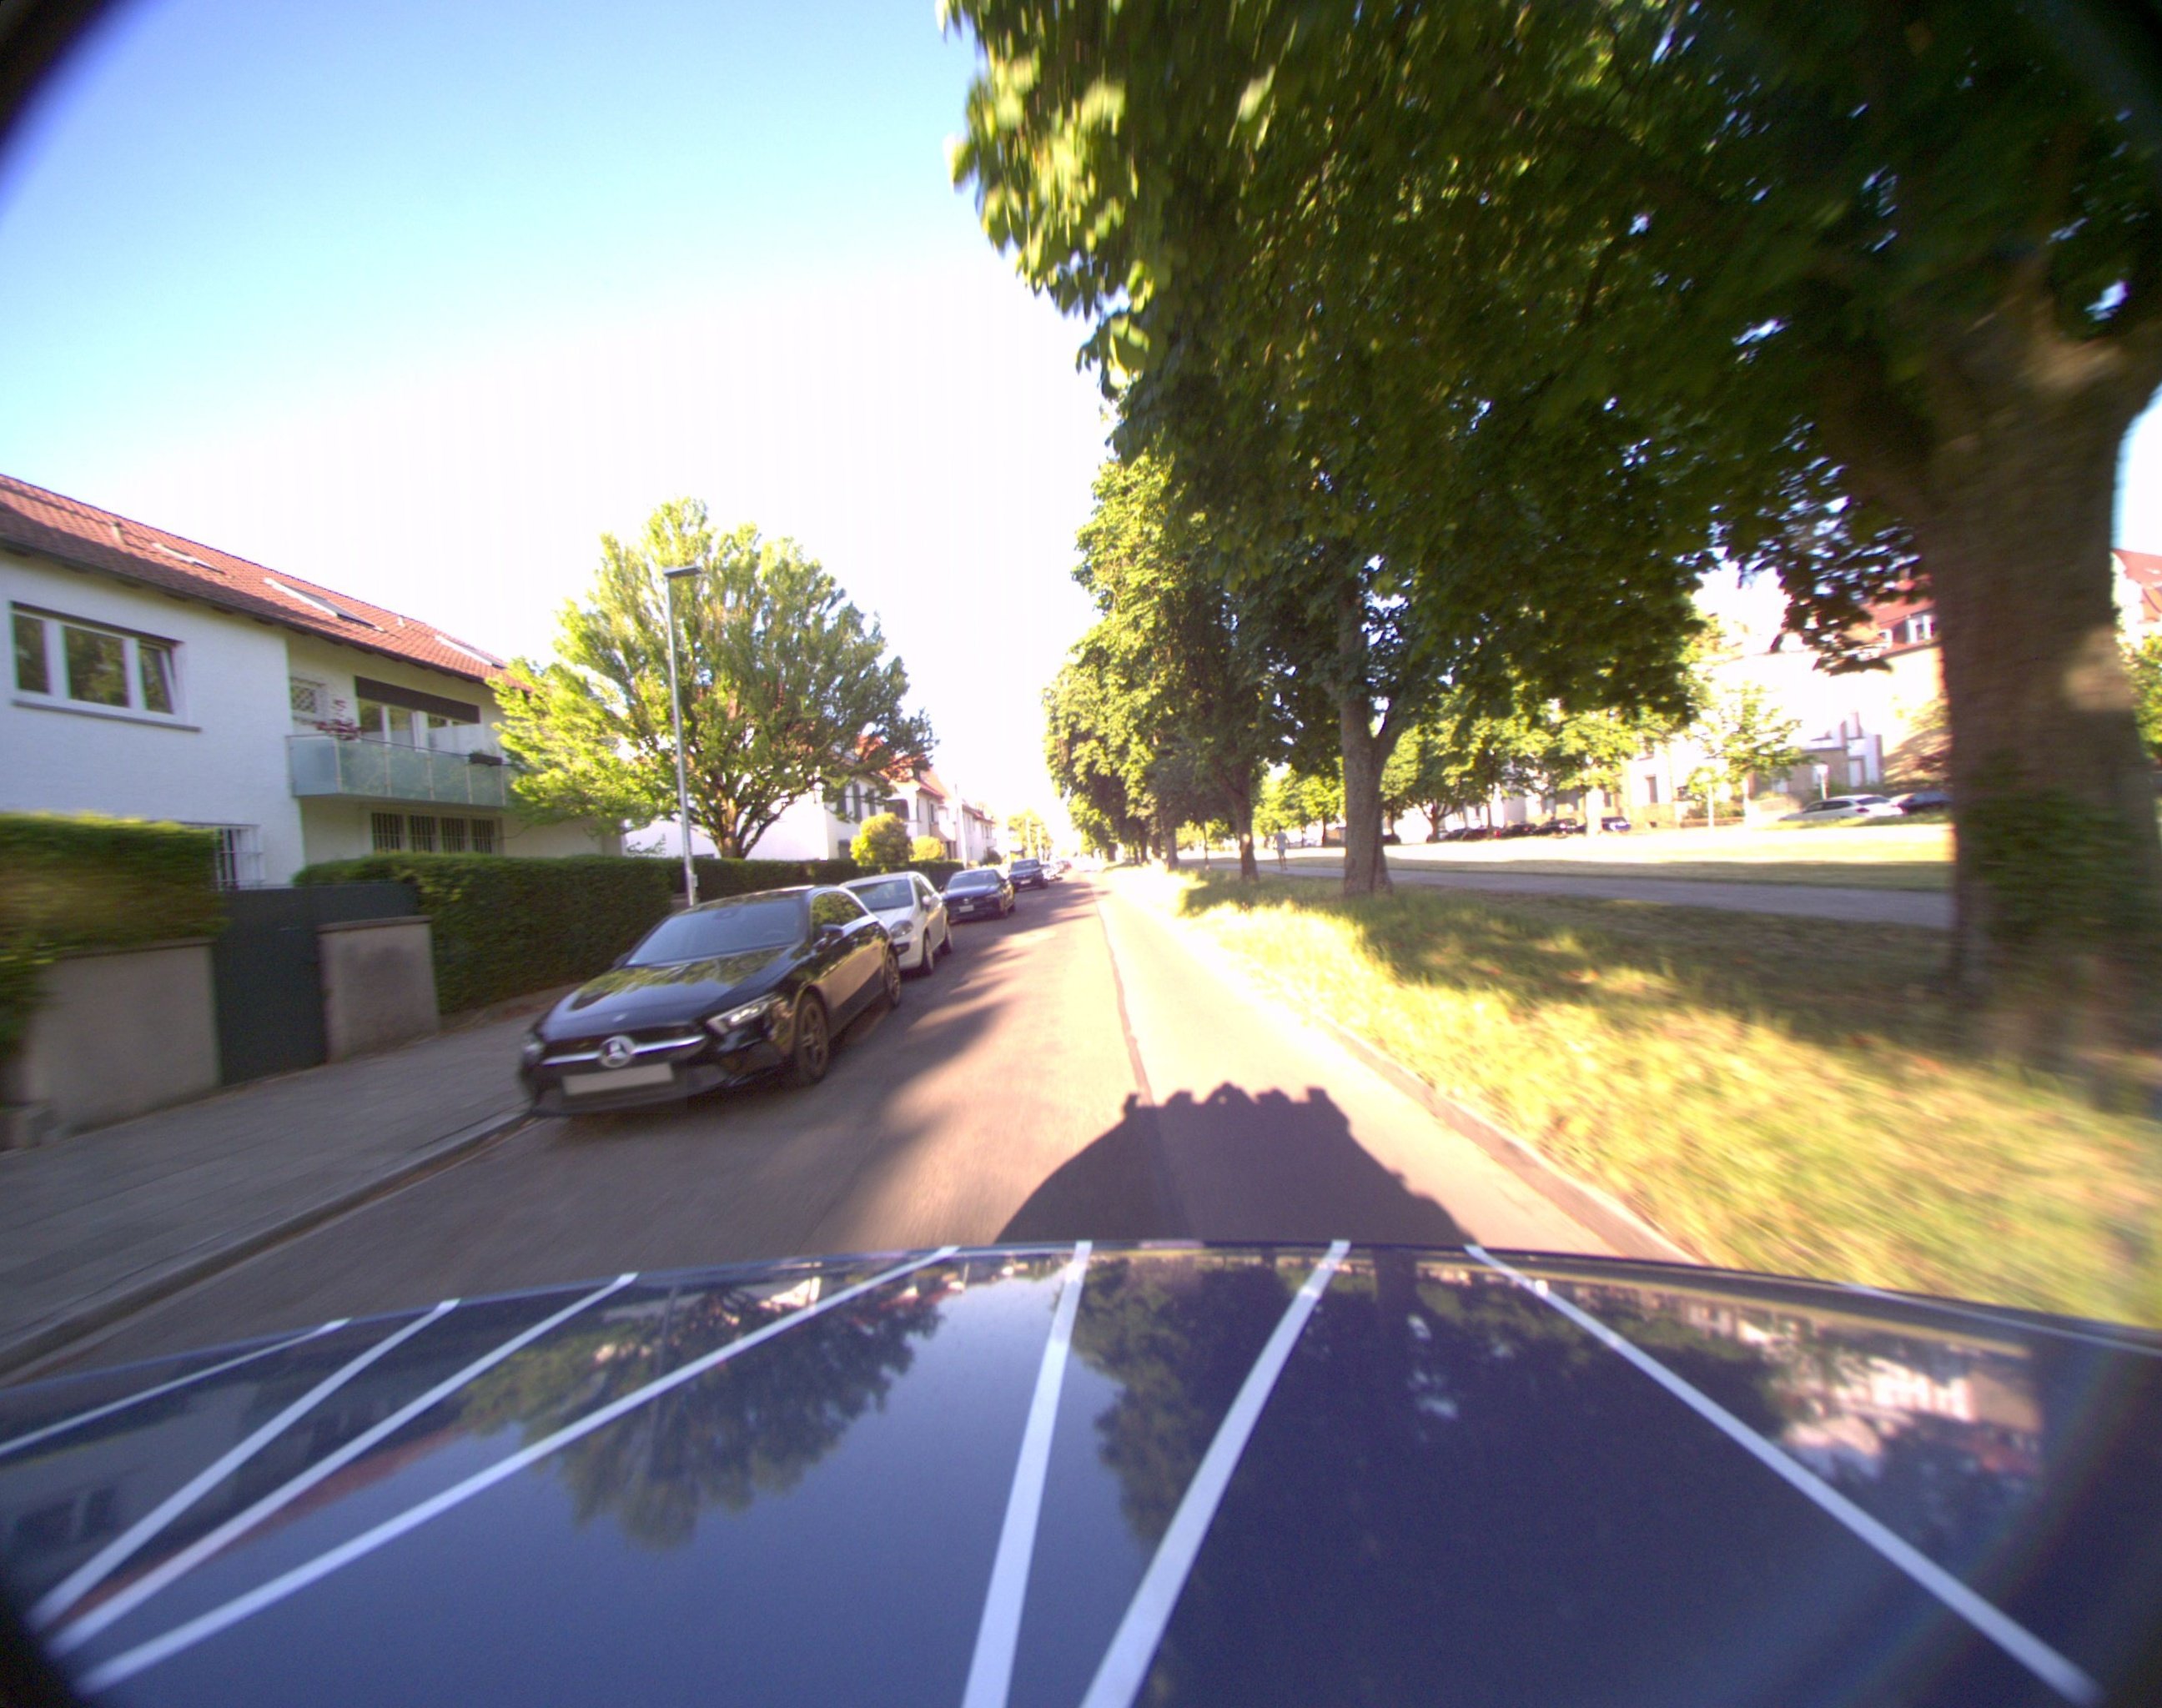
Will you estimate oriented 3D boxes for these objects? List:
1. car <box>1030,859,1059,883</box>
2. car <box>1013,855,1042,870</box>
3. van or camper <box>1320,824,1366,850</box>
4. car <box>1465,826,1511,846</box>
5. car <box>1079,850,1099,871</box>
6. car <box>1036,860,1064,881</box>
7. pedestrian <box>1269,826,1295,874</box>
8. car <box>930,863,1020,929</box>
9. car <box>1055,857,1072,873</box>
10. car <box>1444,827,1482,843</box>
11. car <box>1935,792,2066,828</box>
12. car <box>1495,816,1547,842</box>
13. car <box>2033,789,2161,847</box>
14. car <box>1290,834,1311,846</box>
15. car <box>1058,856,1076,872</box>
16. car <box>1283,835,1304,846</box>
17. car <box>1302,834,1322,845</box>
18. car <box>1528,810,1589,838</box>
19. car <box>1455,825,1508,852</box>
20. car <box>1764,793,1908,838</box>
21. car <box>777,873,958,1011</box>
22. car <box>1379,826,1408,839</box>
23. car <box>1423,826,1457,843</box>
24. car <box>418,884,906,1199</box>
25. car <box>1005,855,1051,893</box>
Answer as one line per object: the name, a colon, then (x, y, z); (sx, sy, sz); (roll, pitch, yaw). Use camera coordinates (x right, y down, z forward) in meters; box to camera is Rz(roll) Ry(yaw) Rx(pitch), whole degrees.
car: (-2.613, 1.225, 55.325); (1.784, 1.454, 4.594); (-7, 0, 0)
car: (-7.807, 1.209, 110.867); (3.998, 1.916, 2.000); (-4, 0, -3)
van or camper: (34.875, -2.200, 101.365); (3.262, 3.092, 7.897); (-4, 0, 1)
car: (40.244, -1.755, 75.252); (1.999, 1.642, 4.429); (-4, 0, -1)
car: (0.869, 0.711, 82.212); (1.998, 2.002, 4.000); (-5, 0, 1)
car: (-2.544, 1.363, 62.974); (1.999, 1.455, 4.549); (-8, 0, -2)
pedestrian: (7.741, -0.146, 29.304); (0.726, 1.747, 0.993); (-4, 0, 7)
car: (-2.901, 1.096, 21.725); (1.798, 1.483, 4.674); (-5, 0, 0)
car: (-2.263, 1.414, 98.367); (1.863, 1.710, 4.467); (-9, 0, -1)
car: (40.640, -2.008, 80.925); (1.998, 1.421, 4.170); (-5, -1, 2)
car: (53.833, -2.537, 44.554); (4.866, 1.598, 2.189); (-5, 0, 1)
car: (39.983, -2.263, 69.216); (1.999, 2.002, 4.429); (-4, 0, -1)
car: (39.561, -1.362, 28.636); (1.761, 2.001, 4.369); (-4, -1, 1)
car: (34.919, -2.246, 121.001); (1.998, 1.680, 4.876); (-4, 0, 1)
car: (-1.519, 1.050, 81.558); (1.784, 1.490, 4.397); (-7, 0, -1)
car: (35.402, -2.242, 126.703); (1.998, 1.680, 4.876); (-4, 0, 1)
car: (41.388, -2.569, 136.264); (1.999, 1.680, 4.875); (-4, 0, -2)
car: (40.100, -2.471, 63.961); (1.998, 2.002, 4.877); (-4, 0, 2)
car: (34.505, -1.291, 65.616); (1.998, 2.002, 4.877); (-4, 0, 2)
car: (34.165, -1.668, 34.596); (1.824, 1.629, 4.651); (-5, 0, 0)
car: (-3.030, 1.162, 11.646); (1.696, 1.474, 3.928); (-8, 0, -4)
car: (40.641, -2.810, 98.797); (1.998, 1.455, 4.000); (-5, 0, 0)
car: (40.272, -2.169, 85.385); (1.998, 1.724, 4.001); (-4, -1, 2)
car: (-2.848, 1.138, 6.439); (1.753, 1.468, 4.288); (-6, 0, -2)
car: (-2.829, 1.022, 41.628); (1.999, 1.727, 4.863); (-7, 0, -1)
